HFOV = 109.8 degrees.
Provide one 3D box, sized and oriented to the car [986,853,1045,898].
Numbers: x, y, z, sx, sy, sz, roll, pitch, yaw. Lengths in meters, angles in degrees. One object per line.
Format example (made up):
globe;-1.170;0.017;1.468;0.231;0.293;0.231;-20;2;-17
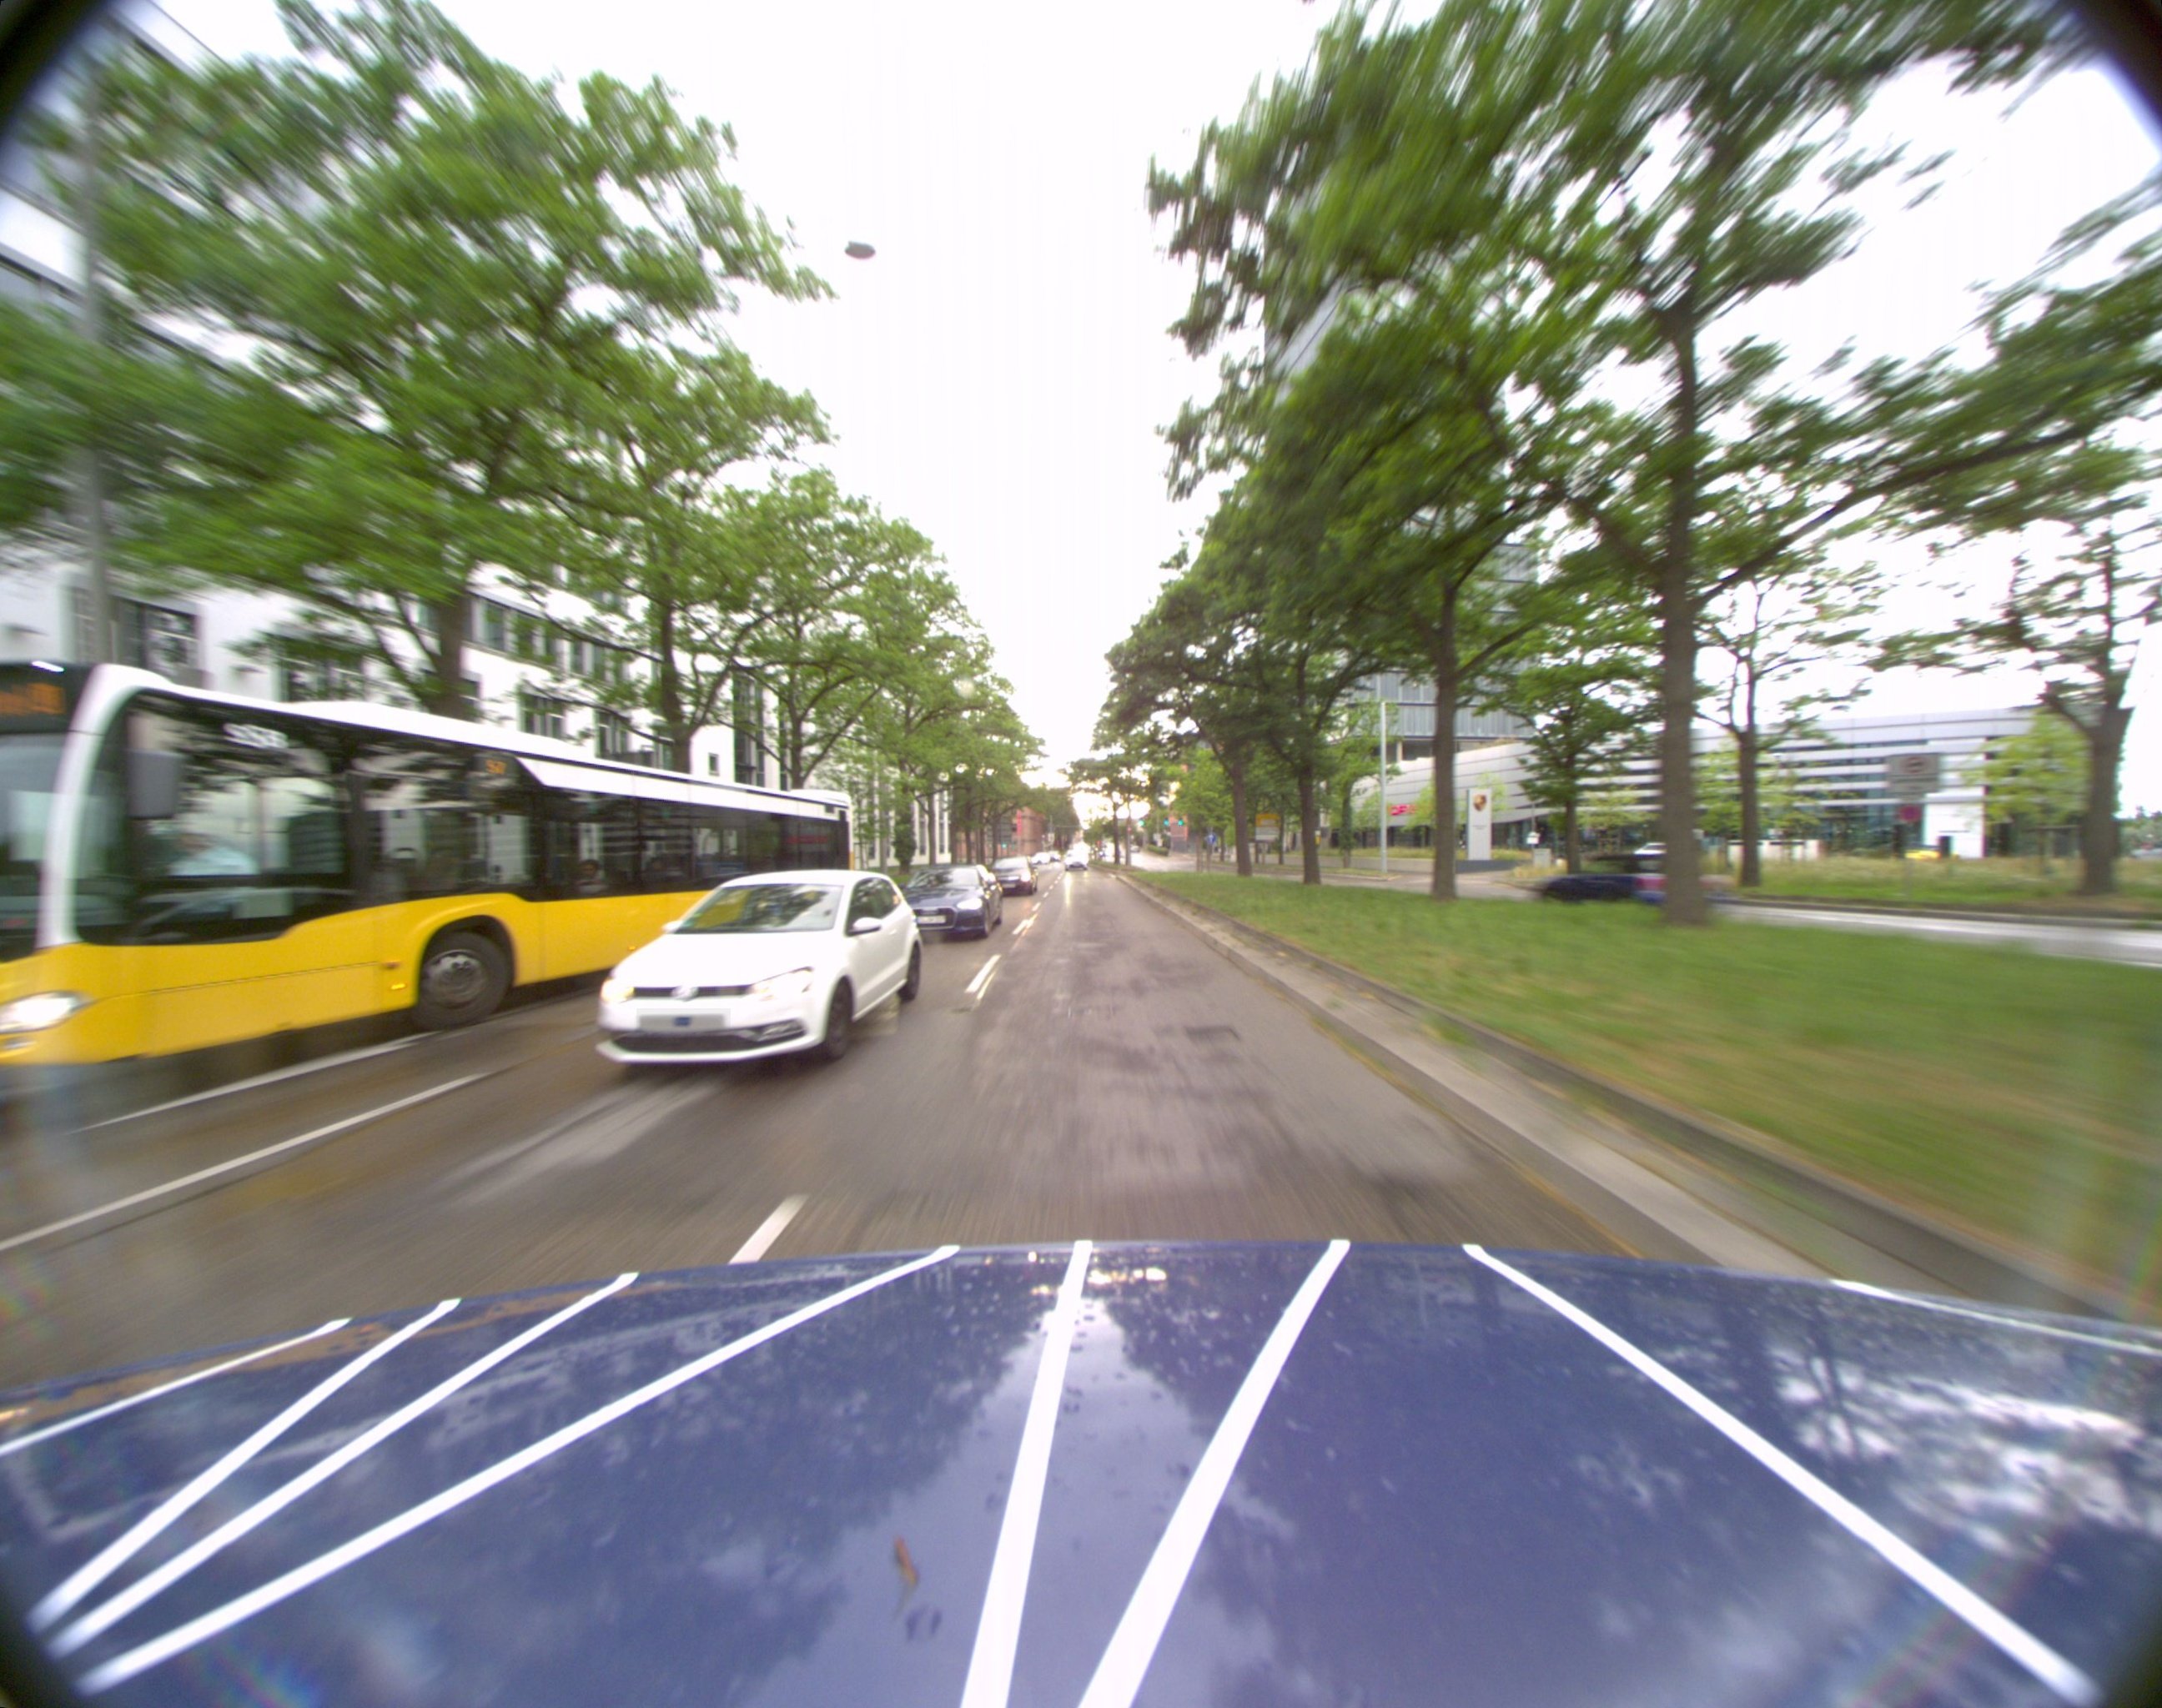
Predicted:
car;-2.424;0.761;28.901;1.625;1.426;3.551;-3;1;4

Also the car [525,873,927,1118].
car;-2.684;0.968;6.828;1.745;1.423;3.811;0;1;1

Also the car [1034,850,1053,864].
car;-4.686;0.355;94.831;1.998;1.576;4.000;0;1;2

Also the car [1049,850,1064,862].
car;-3.492;0.322;109.641;1.998;1.630;4.000;-1;1;1

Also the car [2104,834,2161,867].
car;44.941;-0.123;31.163;1.617;1.237;4.004;-2;2;20

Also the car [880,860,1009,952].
car;-2.538;0.916;15.178;1.878;1.346;4.330;-3;1;-2

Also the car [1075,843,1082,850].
car;-0.743;-2.169;220.600;1.998;2.002;4.000;0;1;1

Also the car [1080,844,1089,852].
car;0.839;-1.498;186.640;1.998;1.772;4.000;0;1;1

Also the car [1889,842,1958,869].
car;49.714;0.068;44.827;4.004;1.316;1.617;-4;2;-25

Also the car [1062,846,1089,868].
car;-0.412;0.237;61.818;1.998;1.707;4.000;0;1;2

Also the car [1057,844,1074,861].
car;-1.981;-0.225;96.044;1.931;2.002;4.000;-1;1;2

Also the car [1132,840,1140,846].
car;14.230;-2.757;197.158;1.783;1.445;3.998;-3;1;-2

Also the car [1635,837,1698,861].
car;40.270;-0.357;52.269;4.004;1.405;1.775;-4;2;-25

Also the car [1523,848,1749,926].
car;11.498;0.596;16.120;1.791;1.387;3.880;-2;1;-4

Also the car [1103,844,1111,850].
car;7.162;-1.941;207.612;1.846;1.581;4.172;0;1;-2

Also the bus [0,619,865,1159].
bus;-6.834;0.195;10.565;2.732;3.134;12.150;-3;0;7

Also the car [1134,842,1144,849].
car;13.923;-2.086;181.112;1.894;1.445;3.998;-3;1;-2
